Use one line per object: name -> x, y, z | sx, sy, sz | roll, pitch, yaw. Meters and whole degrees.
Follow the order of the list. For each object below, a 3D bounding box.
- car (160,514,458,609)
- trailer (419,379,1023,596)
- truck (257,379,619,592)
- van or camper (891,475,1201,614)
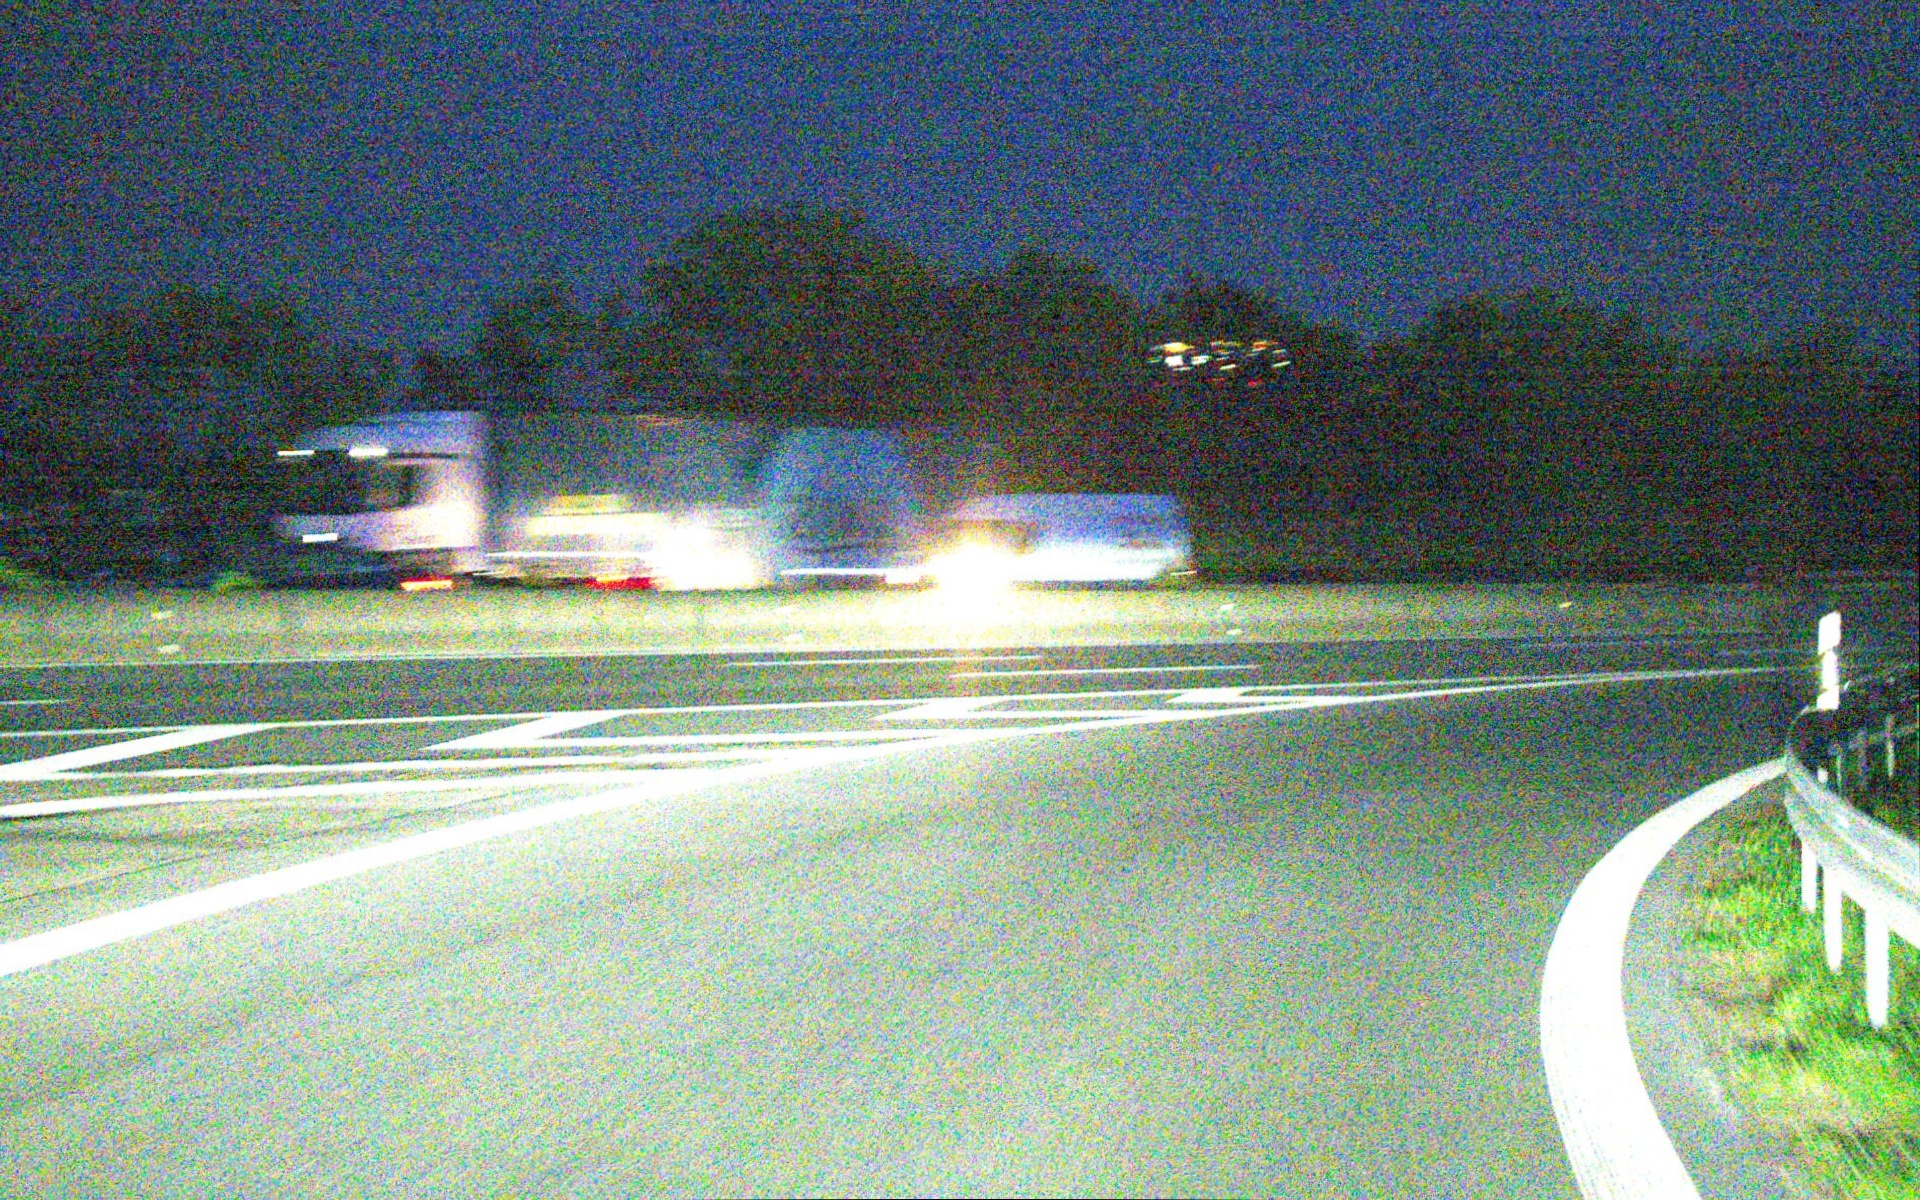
car -> -9.277, -0.560, 49.207 | 1.628, 1.273, 3.990 | 2, 2, 43
trailer -> -4.245, -2.024, 66.465 | 2.765, 3.803, 13.727 | 2, 1, 41
truck -> -9.171, -1.962, 60.883 | 2.765, 3.583, 5.949 | 2, 1, 40
van or camper -> 1.766, -1.053, 66.695 | 1.998, 2.541, 7.167 | 2, 1, 39
